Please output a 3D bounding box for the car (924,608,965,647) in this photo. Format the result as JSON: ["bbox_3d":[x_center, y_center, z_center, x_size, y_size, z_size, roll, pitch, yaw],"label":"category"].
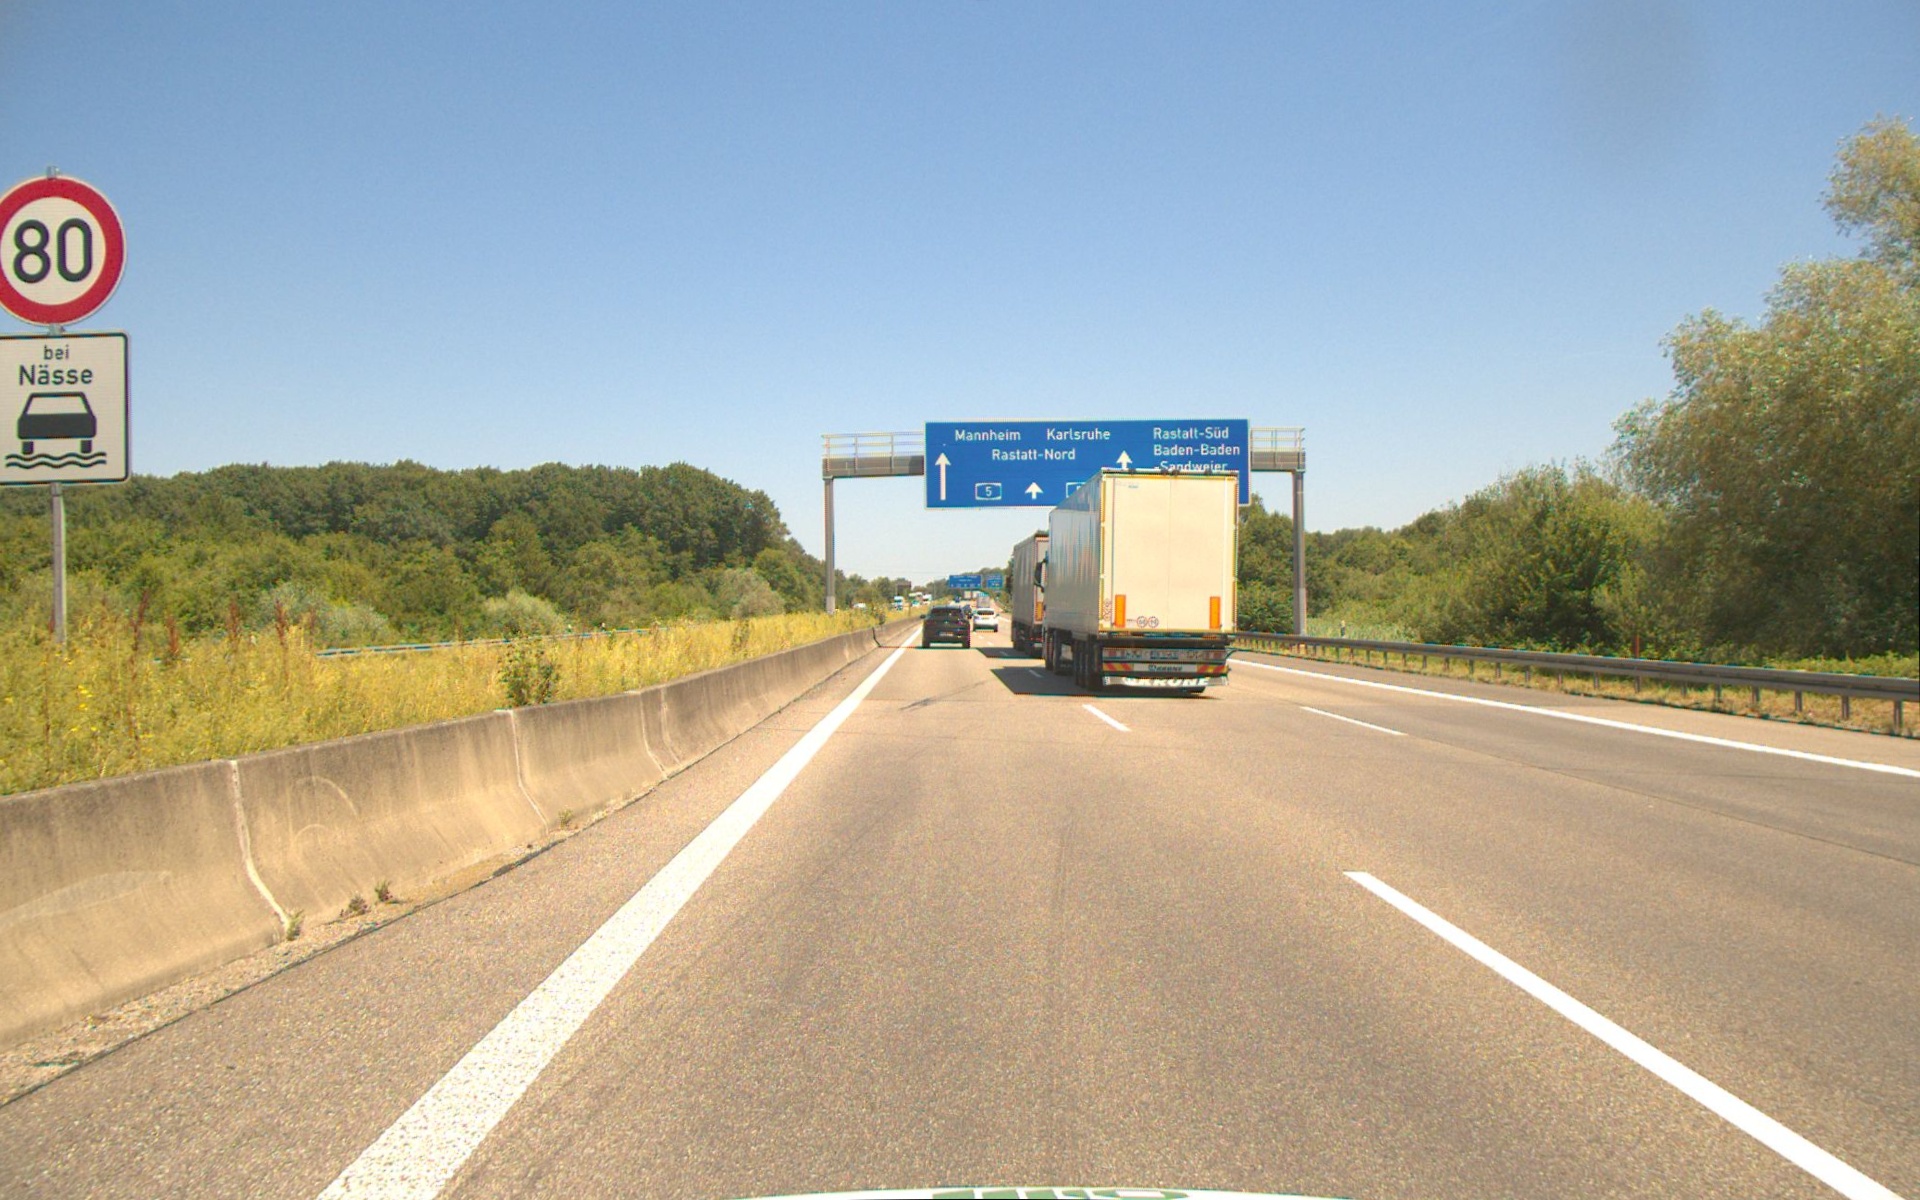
[{"bbox_3d":[-0.654,1.129,68.135,1.626,1.576,3.782,0,-1,-2],"label":"car"}]

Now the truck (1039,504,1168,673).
[{"bbox_3d":[3.643,-0.263,43.272,2.743,4.077,6.019,0,0,-1],"label":"truck"}]

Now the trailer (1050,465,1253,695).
[{"bbox_3d":[3.768,-0.316,35.886,2.738,4.106,12.564,0,0,-1],"label":"trailer"}]

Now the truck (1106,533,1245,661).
[{"bbox_3d":[7.652,-0.043,60.890,2.994,4.178,13.213,1,-1,-2],"label":"truck"}]

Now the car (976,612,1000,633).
[{"bbox_3d":[2.013,1.604,119.517,1.704,1.512,4.000,0,0,0],"label":"car"}]

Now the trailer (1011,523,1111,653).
[{"bbox_3d":[3.465,-0.268,60.443,2.652,4.140,14.743,1,-1,0],"label":"trailer"}]
